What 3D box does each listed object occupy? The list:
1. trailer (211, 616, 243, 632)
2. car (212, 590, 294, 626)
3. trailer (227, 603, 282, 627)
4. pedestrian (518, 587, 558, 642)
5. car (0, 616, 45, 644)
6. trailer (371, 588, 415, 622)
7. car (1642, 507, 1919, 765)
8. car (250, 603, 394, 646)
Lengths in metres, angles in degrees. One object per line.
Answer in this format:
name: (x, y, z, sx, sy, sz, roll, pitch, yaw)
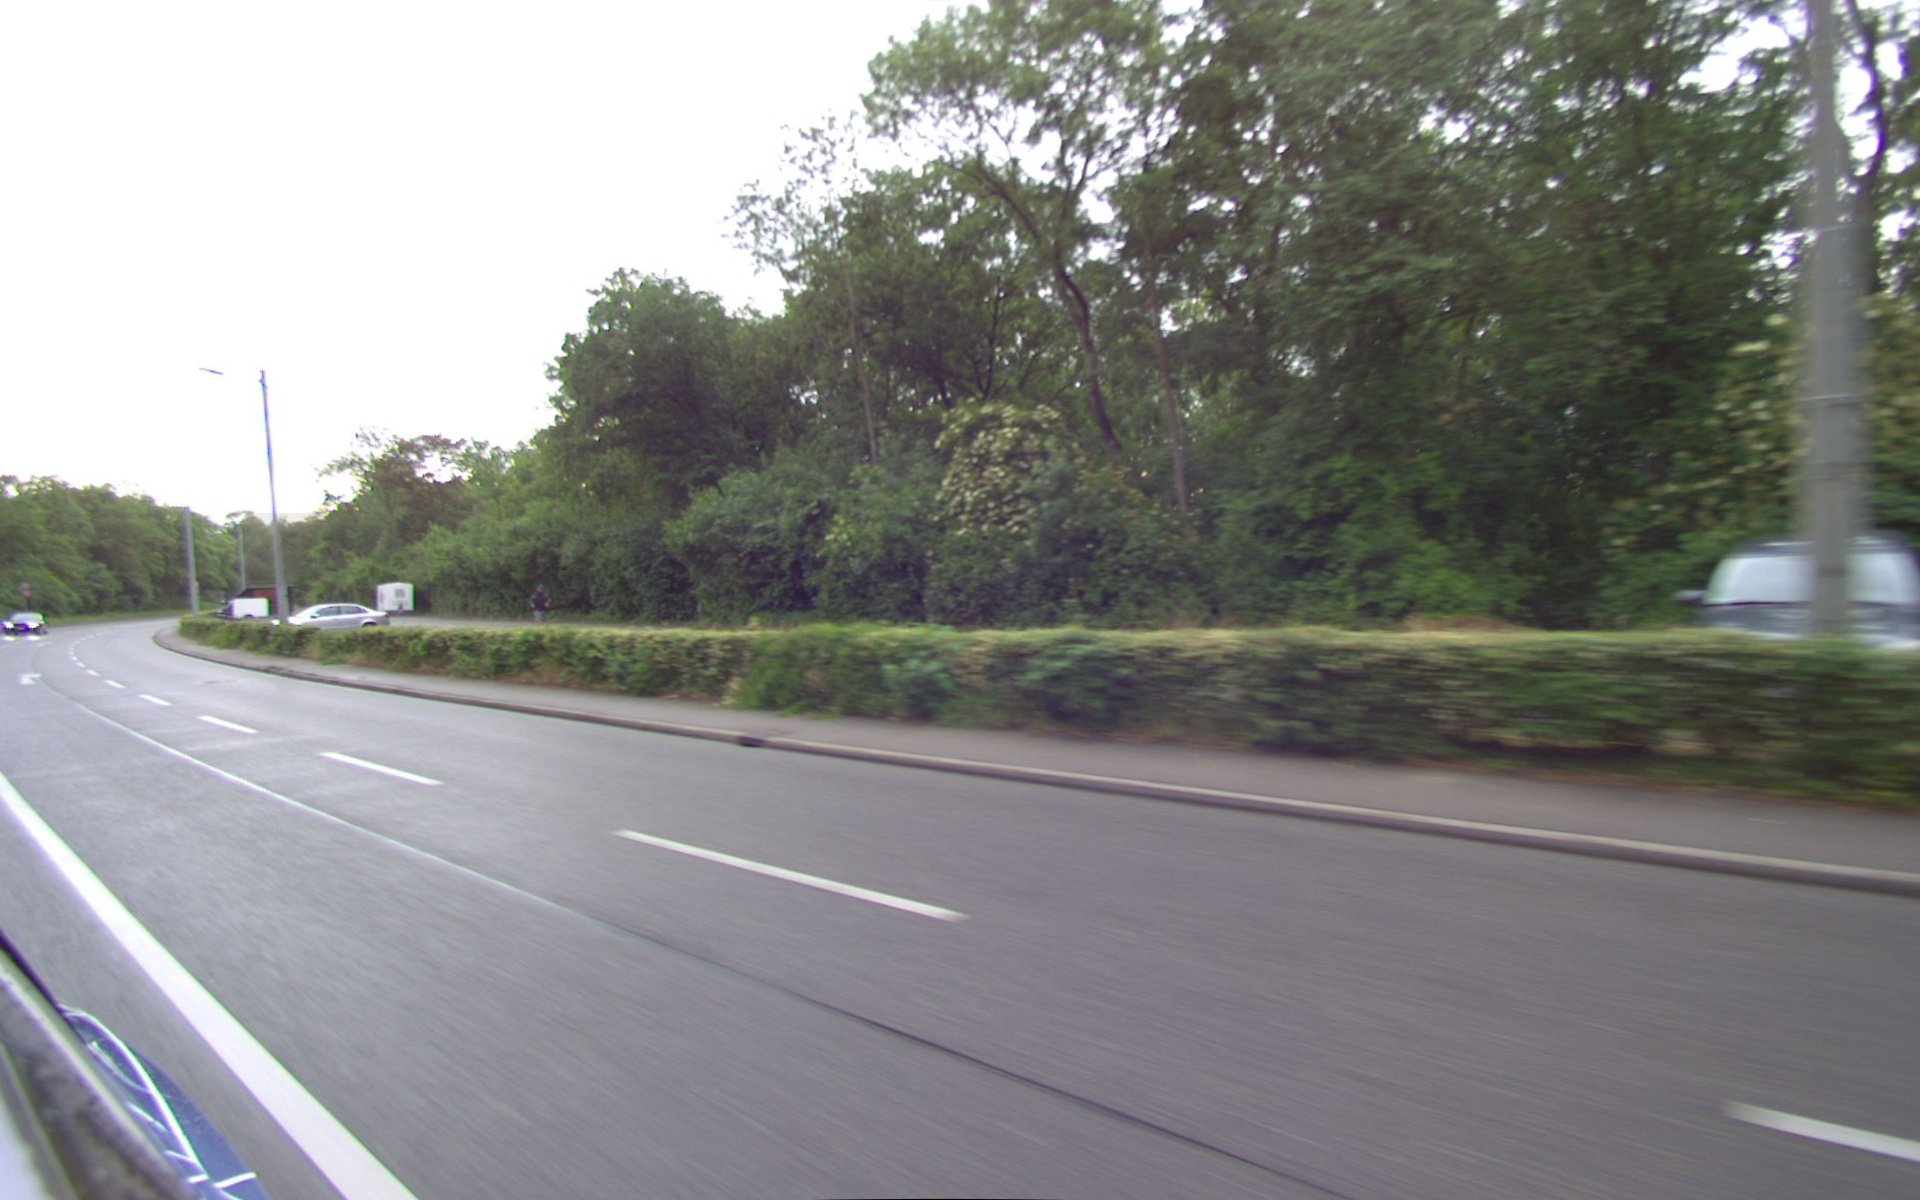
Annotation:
trailer: (-52.685, 1.708, 72.751, 1.778, 1.042, 1.336, -2, 1, -40)
car: (-66.370, 0.723, 95.107, 6.190, 3.136, 2.758, -2, 2, -36)
trailer: (-63.170, 1.304, 90.679, 3.933, 2.068, 1.878, -1, 0, -33)
pedestrian: (-14.171, 0.476, 33.971, 1.136, 1.811, 0.808, -1, 0, 43)
car: (-61.749, 1.924, 66.516, 1.967, 1.696, 4.009, -1, 1, -36)
trailer: (-51.565, 0.446, 91.947, 2.443, 2.895, 7.995, -1, 0, -36)
car: (7.486, 0.181, 8.636, 2.001, 1.721, 4.243, -1, 1, 45)
car: (-25.763, 0.957, 40.966, 1.999, 1.517, 4.527, -1, 1, 42)
